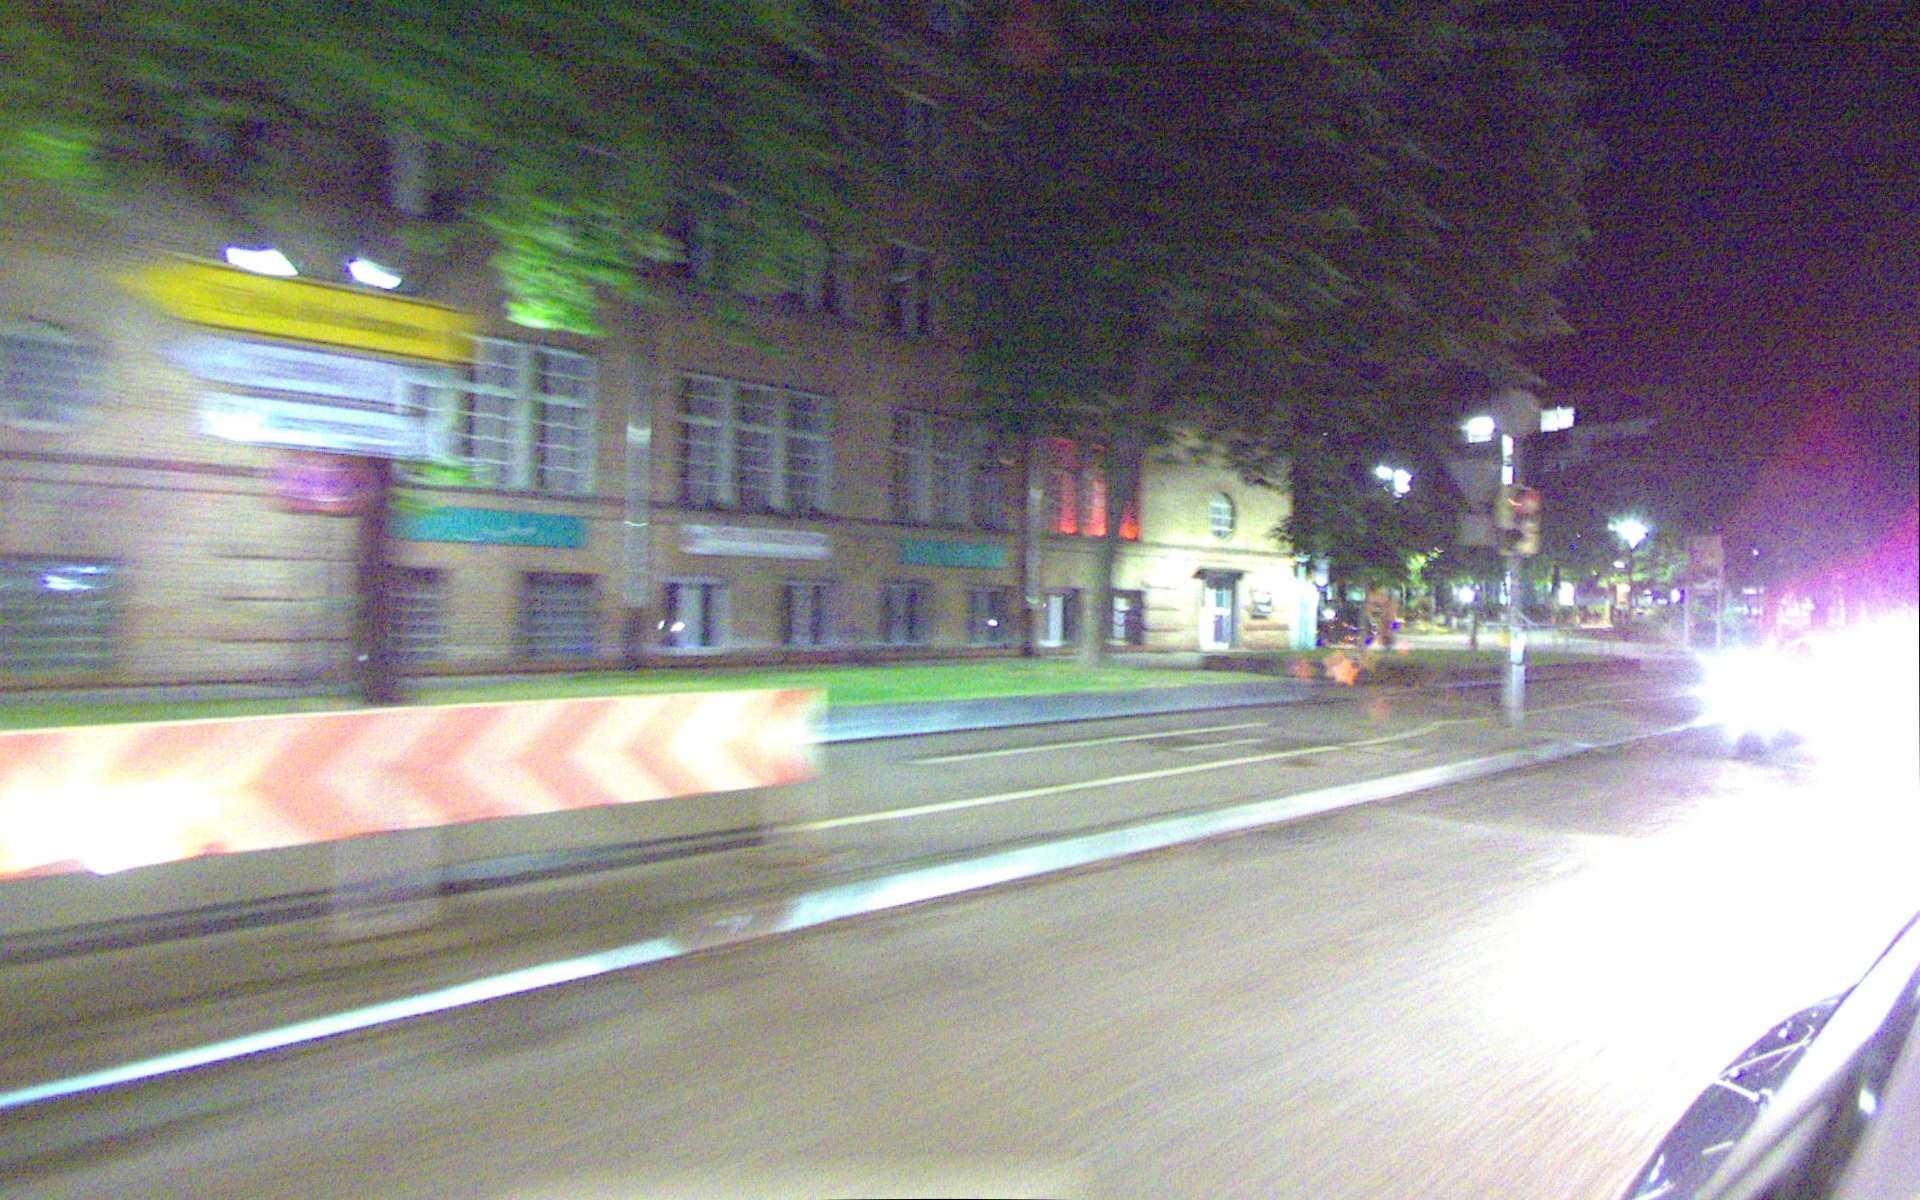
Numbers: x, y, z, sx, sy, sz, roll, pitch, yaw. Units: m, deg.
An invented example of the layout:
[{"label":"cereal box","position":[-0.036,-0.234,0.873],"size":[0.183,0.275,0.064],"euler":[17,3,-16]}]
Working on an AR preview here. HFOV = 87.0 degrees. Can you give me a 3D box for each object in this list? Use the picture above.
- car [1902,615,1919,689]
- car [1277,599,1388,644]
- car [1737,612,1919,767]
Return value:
[{"label":"car","position":[22.043,1.084,21.917],"size":[4.644,1.513,1.808],"euler":[1,-2,-40]},{"label":"car","position":[12.851,0.736,34.817],"size":[4.400,1.413,1.516],"euler":[1,0,-39]},{"label":"car","position":[10.500,0.906,11.687],"size":[3.929,1.514,1.640],"euler":[1,-1,-41]}]
